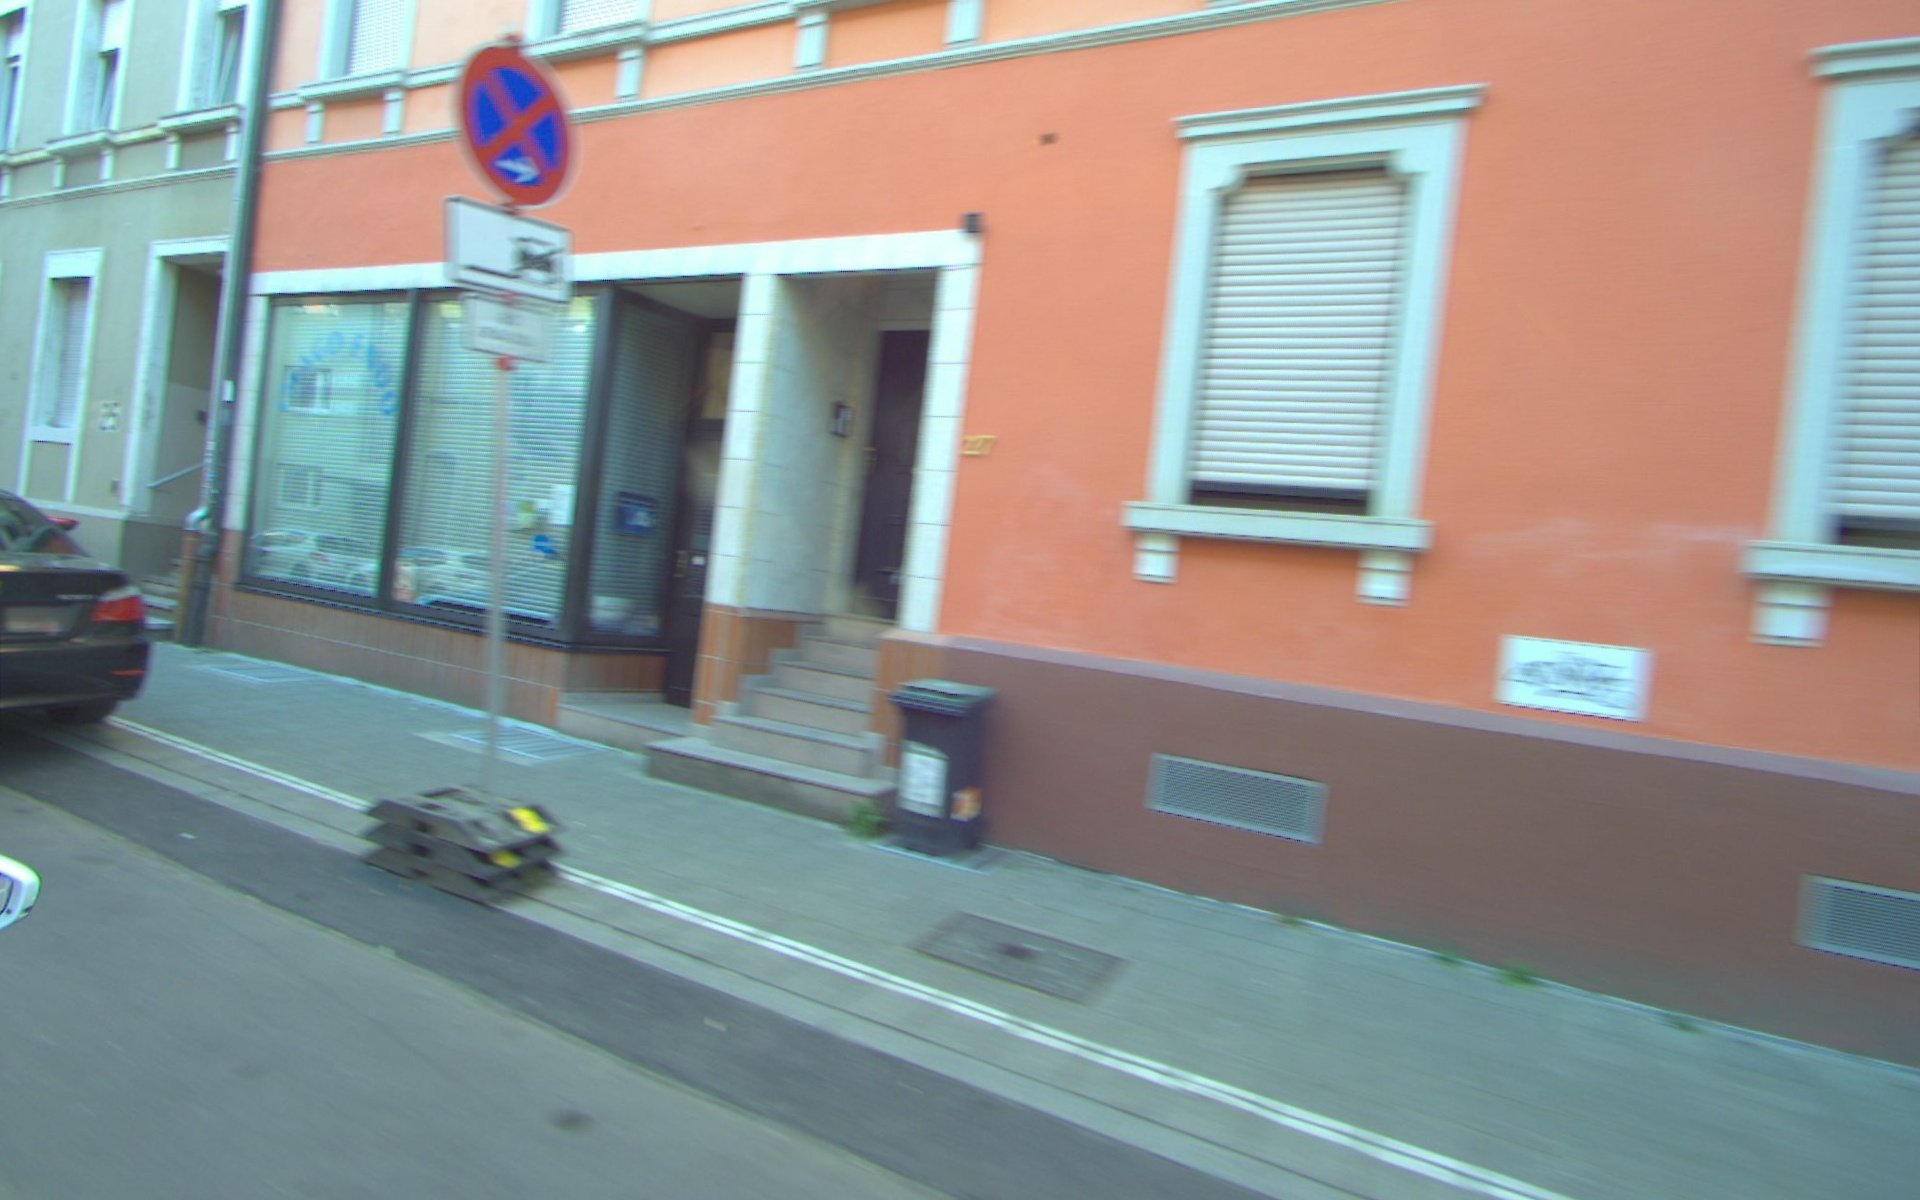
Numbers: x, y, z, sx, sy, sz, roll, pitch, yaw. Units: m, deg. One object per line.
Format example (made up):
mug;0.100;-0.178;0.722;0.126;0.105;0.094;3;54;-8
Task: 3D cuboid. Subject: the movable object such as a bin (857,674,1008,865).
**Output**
movable object such as a bin;-0.145;0.916;5.651;0.569;0.918;0.598;6;2;25

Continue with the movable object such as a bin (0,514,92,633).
movable object such as a bin;-9.079;-0.265;9.748;0.665;1.090;0.737;6;2;20

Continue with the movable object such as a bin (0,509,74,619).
movable object such as a bin;-9.904;-0.383;10.488;0.666;1.090;0.807;7;3;31

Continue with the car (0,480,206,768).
car;-6.937;-0.109;6.113;4.706;1.457;1.819;7;1;27
